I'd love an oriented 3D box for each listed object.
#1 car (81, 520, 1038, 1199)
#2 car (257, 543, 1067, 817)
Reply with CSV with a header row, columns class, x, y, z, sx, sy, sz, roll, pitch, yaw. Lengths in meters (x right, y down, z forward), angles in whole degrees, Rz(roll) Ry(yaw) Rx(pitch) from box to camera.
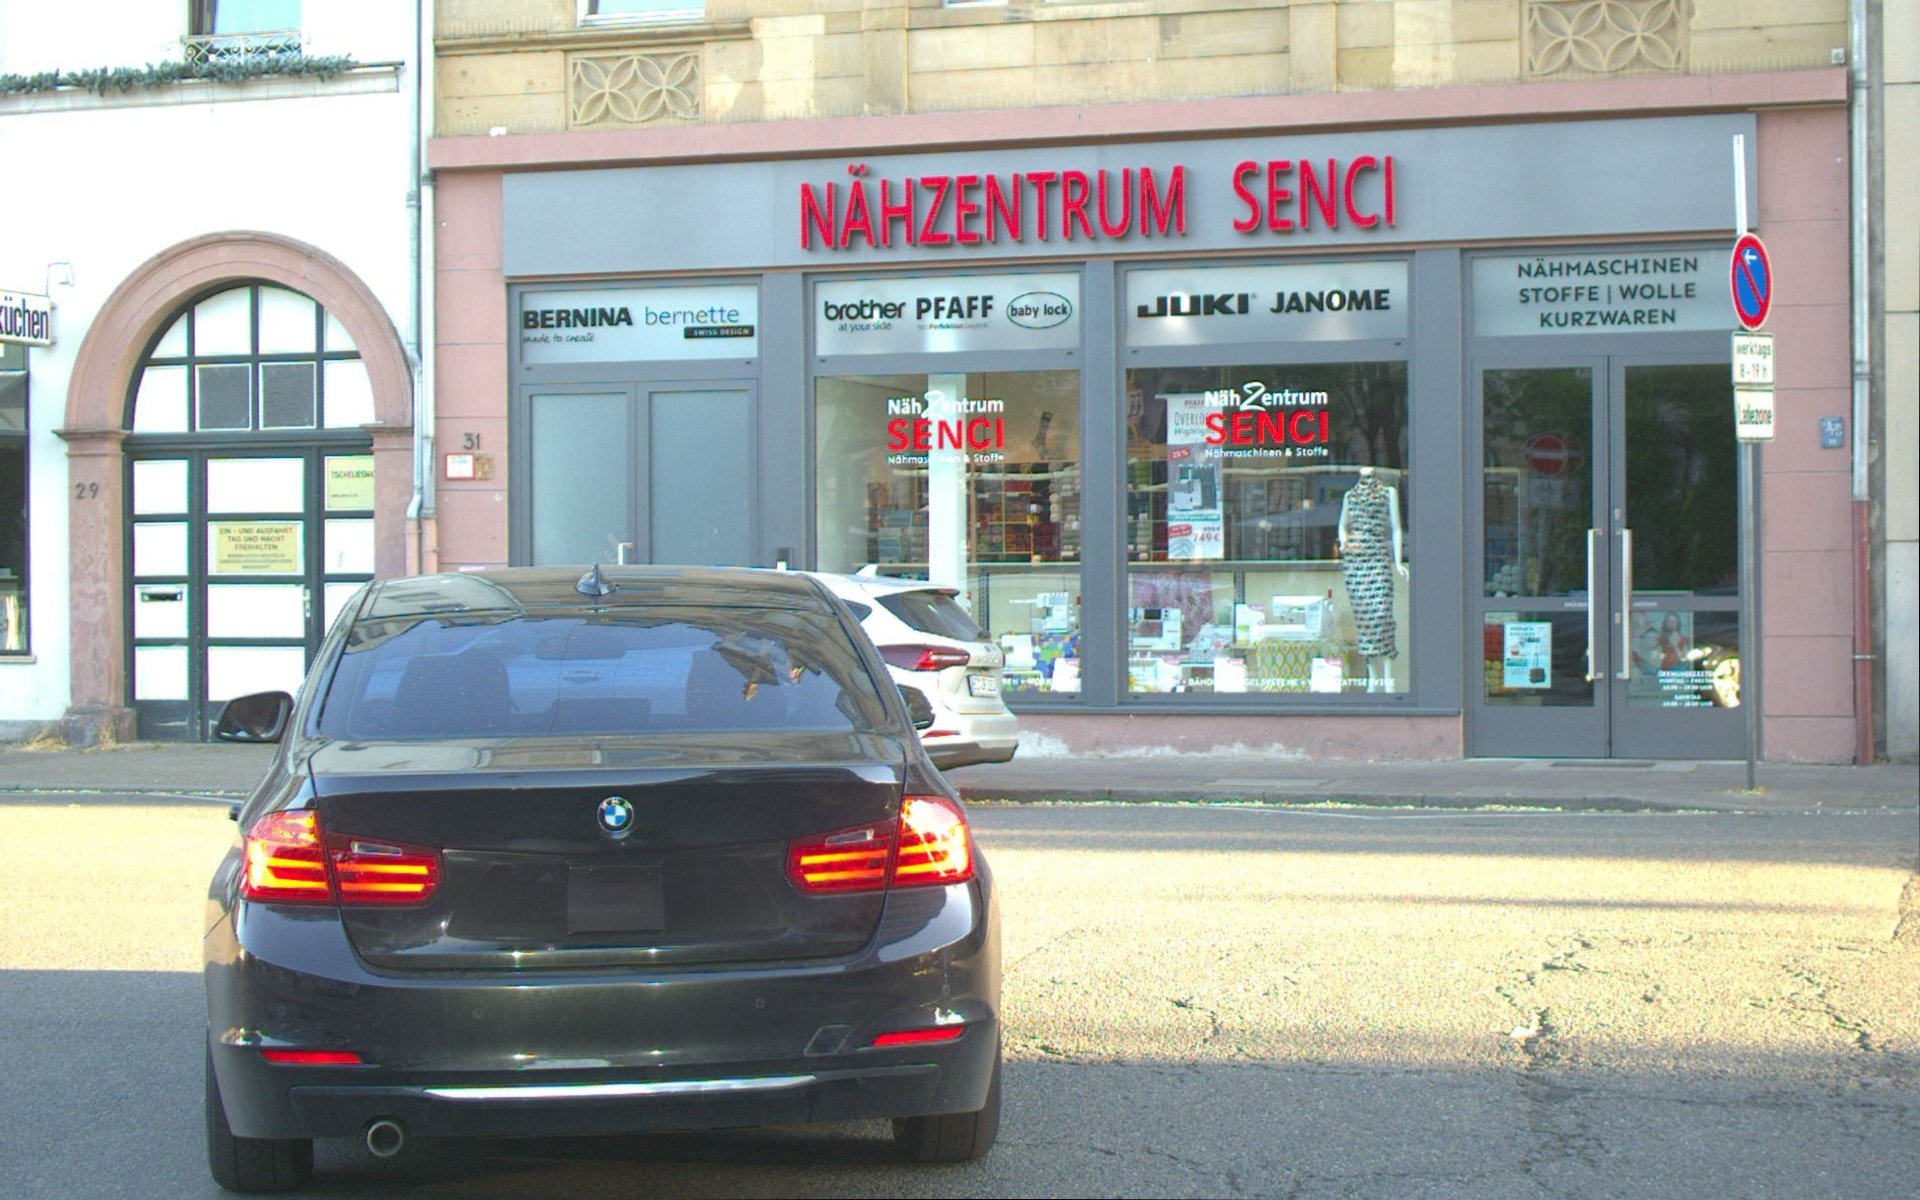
class,x,y,z,sx,sy,sz,roll,pitch,yaw
car,-0.901,0.595,8.923,1.888,1.487,4.205,0,0,-3
car,-1.853,0.453,21.718,4.670,1.530,1.998,1,1,18
